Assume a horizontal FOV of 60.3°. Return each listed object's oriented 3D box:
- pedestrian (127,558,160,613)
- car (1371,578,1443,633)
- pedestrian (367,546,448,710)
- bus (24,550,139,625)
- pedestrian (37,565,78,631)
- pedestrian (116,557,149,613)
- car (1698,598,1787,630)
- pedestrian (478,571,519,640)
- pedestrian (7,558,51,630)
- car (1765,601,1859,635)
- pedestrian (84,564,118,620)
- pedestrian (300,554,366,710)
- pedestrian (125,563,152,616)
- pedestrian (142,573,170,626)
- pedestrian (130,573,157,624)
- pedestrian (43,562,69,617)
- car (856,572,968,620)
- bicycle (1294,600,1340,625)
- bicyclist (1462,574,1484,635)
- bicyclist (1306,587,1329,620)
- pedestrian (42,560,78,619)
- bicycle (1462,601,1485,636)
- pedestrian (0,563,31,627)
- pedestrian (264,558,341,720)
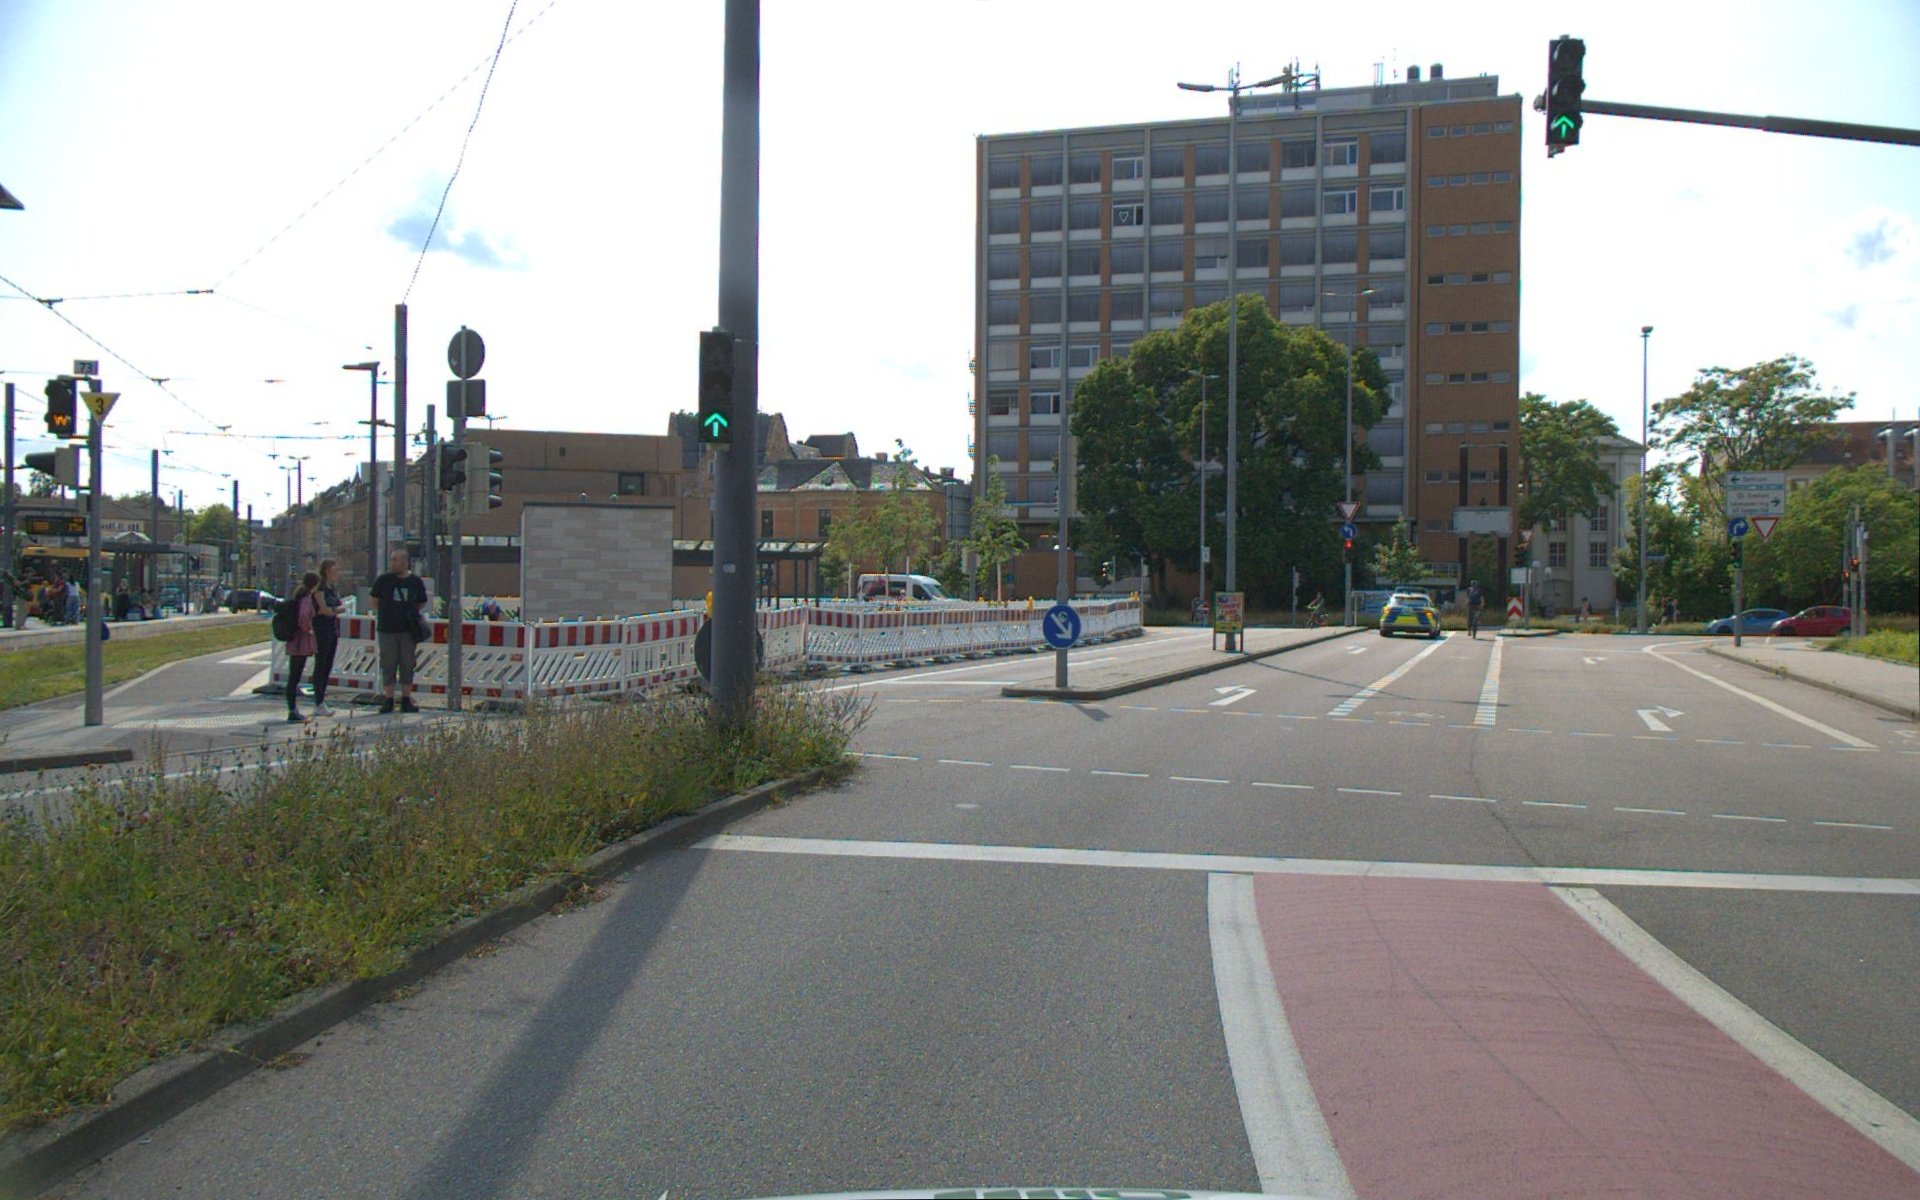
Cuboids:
[{"bbox_3d":[-30.990,-0.538,62.769,0.935,2.049,0.720,2,-1,-42],"label":"pedestrian"},{"bbox_3d":[15.093,0.158,55.690,2.086,1.713,4.104,2,1,18],"label":"car"},{"bbox_3d":[-6.610,0.320,19.792,0.784,1.918,0.606,0,0,-35],"label":"pedestrian"},{"bbox_3d":[-38.217,-0.531,72.289,2.384,3.034,10.494,0,0,-17],"label":"bus"},{"bbox_3d":[-28.329,-0.066,51.925,0.718,2.049,0.937,0,-1,44],"label":"pedestrian"},{"bbox_3d":[-30.927,-0.545,61.820,0.935,2.049,0.720,2,-1,-42],"label":"pedestrian"},{"bbox_3d":[36.643,0.637,77.465,3.655,1.482,1.622,0,0,31],"label":"car"},{"bbox_3d":[-12.546,0.153,44.957,0.920,1.821,1.171,1,-1,-21],"label":"pedestrian"},{"bbox_3d":[-27.024,-0.175,48.000,0.935,2.049,0.720,2,-1,-42],"label":"pedestrian"},{"bbox_3d":[38.072,0.804,73.914,3.655,1.482,1.622,0,0,31],"label":"car"},{"bbox_3d":[-31.767,-0.294,61.164,0.935,2.049,0.720,2,-1,-42],"label":"pedestrian"},{"bbox_3d":[-7.232,0.364,19.084,0.400,1.766,0.621,0,0,22],"label":"pedestrian"},{"bbox_3d":[-32.520,-0.411,65.461,0.930,2.049,0.724,1,-1,-28],"label":"pedestrian"},{"bbox_3d":[-31.405,-0.029,64.566,0.930,2.049,0.724,1,-1,-28],"label":"pedestrian"},{"bbox_3d":[-33.317,-0.044,67.517,0.930,2.049,0.724,1,-1,-28],"label":"pedestrian"},{"bbox_3d":[-34.228,-0.408,62.634,0.723,2.049,0.932,2,-1,-36],"label":"pedestrian"},{"bbox_3d":[-2.452,-0.193,83.211,5.480,2.359,2.292,0,0,38],"label":"car"},{"bbox_3d":[16.263,0.548,75.308,2.158,1.103,0.630,-1,1,-28],"label":"bicycle"},{"bbox_3d":[17.268,0.140,55.638,0.703,2.008,0.840,0,1,18],"label":"bicyclist"},{"bbox_3d":[16.297,0.168,75.326,0.827,1.496,0.630,-1,1,-28],"label":"bicyclist"},{"bbox_3d":[-31.734,-0.359,58.338,0.935,2.049,0.720,2,-1,-42],"label":"pedestrian"},{"bbox_3d":[17.249,0.604,55.577,0.705,1.103,2.192,0,1,18],"label":"bicycle"},{"bbox_3d":[-30.594,-0.149,53.281,0.718,2.049,0.937,0,-1,44],"label":"pedestrian"},{"bbox_3d":[-7.173,0.416,18.069,0.599,1.736,0.622,0,0,-2],"label":"pedestrian"}]
